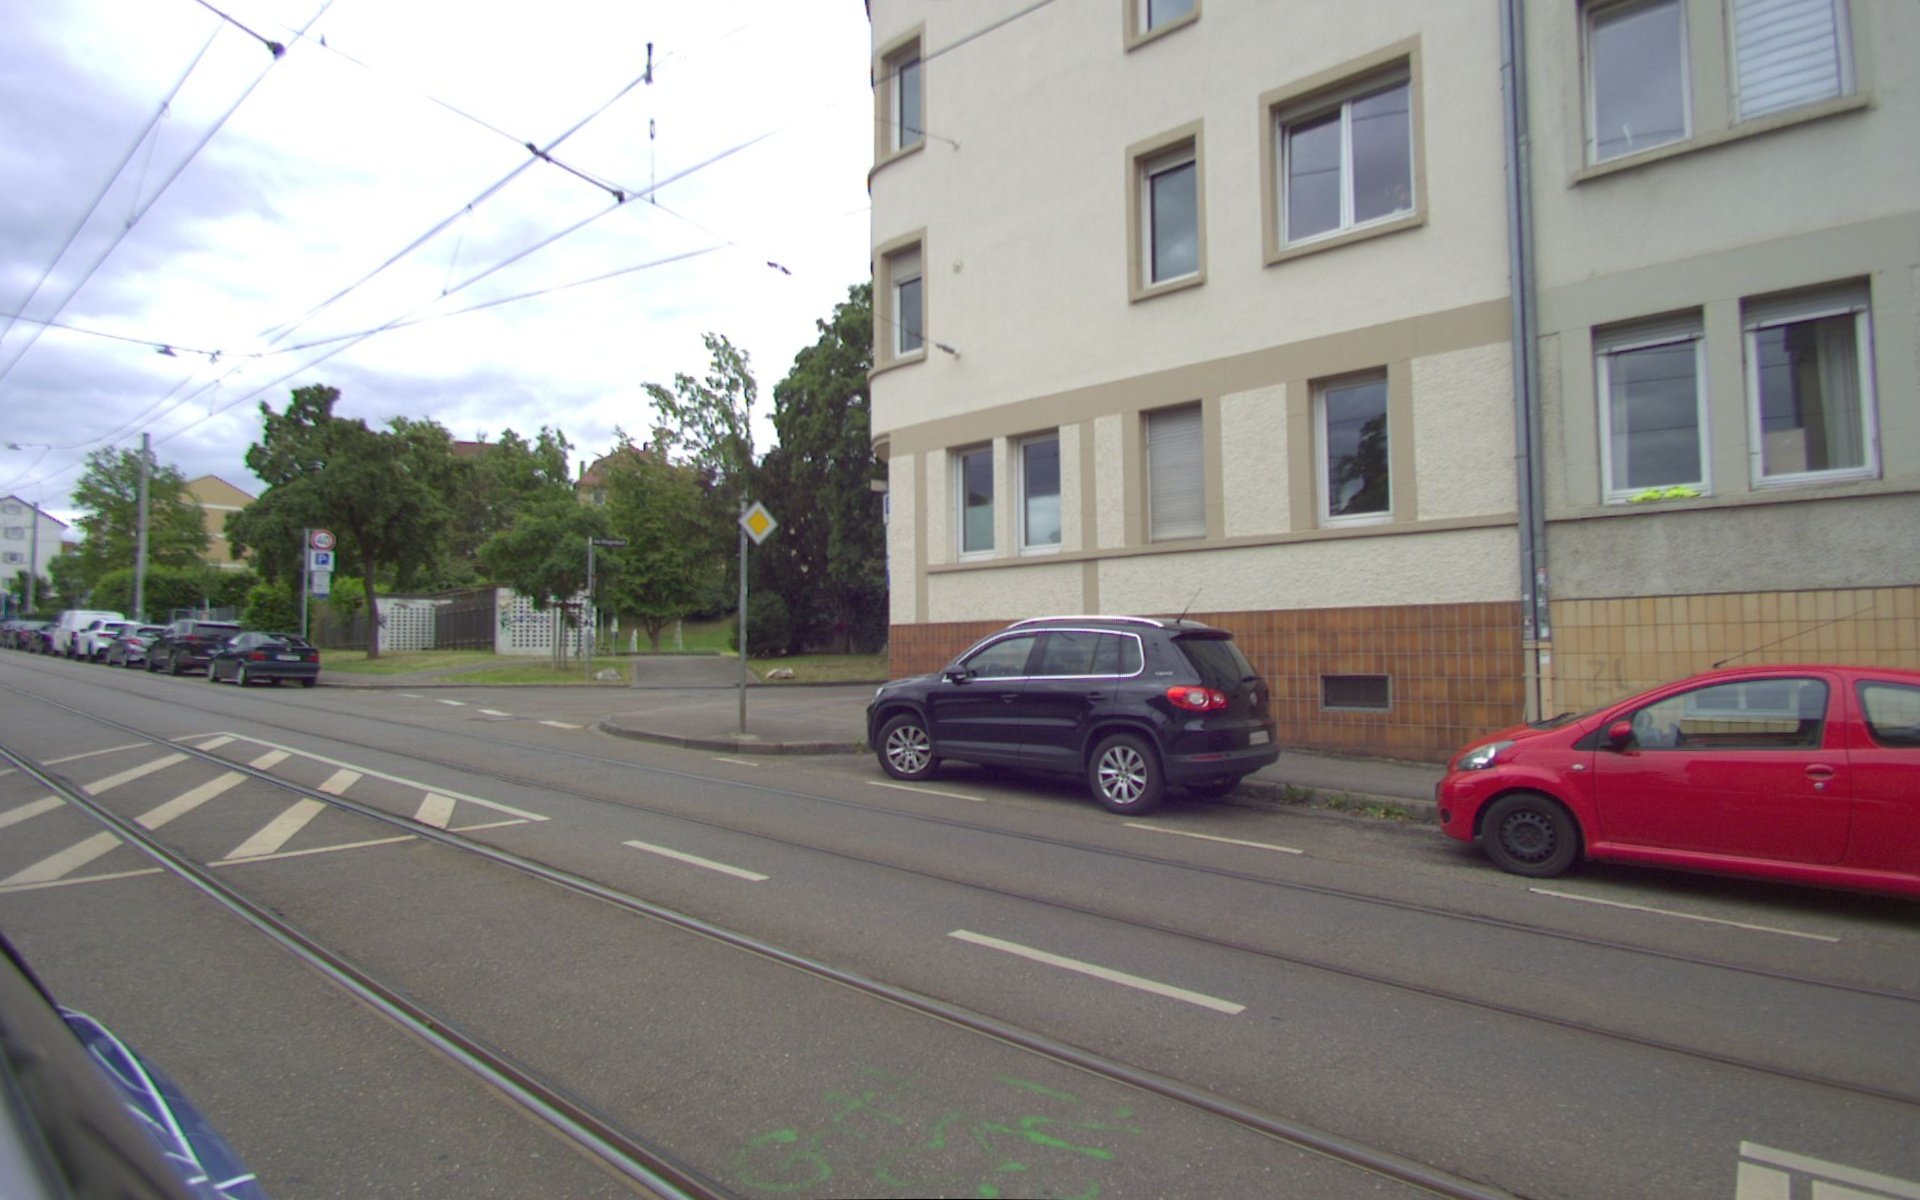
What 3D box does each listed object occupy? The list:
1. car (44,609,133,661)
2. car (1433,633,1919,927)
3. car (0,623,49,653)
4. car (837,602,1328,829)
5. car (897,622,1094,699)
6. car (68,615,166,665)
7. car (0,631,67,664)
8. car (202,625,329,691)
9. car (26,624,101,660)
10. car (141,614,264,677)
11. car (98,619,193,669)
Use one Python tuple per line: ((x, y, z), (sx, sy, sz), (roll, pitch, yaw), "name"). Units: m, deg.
((-36.356, 1.447, 42.172), (4.731, 1.927, 1.949), (1, -3, 40), "car")
((5.171, 1.032, 6.352), (3.739, 1.474, 1.606), (1, -3, 37), "car")
((-49.971, 1.995, 53.677), (4.158, 1.415, 1.772), (1, -3, 40), "car")
((1.031, 0.929, 9.833), (4.398, 1.658, 1.849), (1, -3, 40), "car")
((0.791, 1.344, 22.559), (3.930, 1.583, 1.882), (2, -2, -23), "car")
((-31.940, 1.496, 38.314), (4.629, 1.699, 1.949), (1, -3, 40), "car")
((-45.679, 2.331, 49.833), (4.436, 1.397, 1.821), (1, -3, 40), "car")
((-18.164, 1.475, 26.402), (4.153, 1.488, 1.604), (1, -3, 40), "car")
((-40.516, 1.881, 45.722), (4.514, 1.397, 1.821), (1, -3, 40), "car")
((-23.071, 1.364, 30.767), (4.440, 1.699, 1.949), (1, -3, 40), "car")
((-27.935, 1.483, 34.687), (3.866, 1.520, 1.721), (1, -3, 40), "car")
